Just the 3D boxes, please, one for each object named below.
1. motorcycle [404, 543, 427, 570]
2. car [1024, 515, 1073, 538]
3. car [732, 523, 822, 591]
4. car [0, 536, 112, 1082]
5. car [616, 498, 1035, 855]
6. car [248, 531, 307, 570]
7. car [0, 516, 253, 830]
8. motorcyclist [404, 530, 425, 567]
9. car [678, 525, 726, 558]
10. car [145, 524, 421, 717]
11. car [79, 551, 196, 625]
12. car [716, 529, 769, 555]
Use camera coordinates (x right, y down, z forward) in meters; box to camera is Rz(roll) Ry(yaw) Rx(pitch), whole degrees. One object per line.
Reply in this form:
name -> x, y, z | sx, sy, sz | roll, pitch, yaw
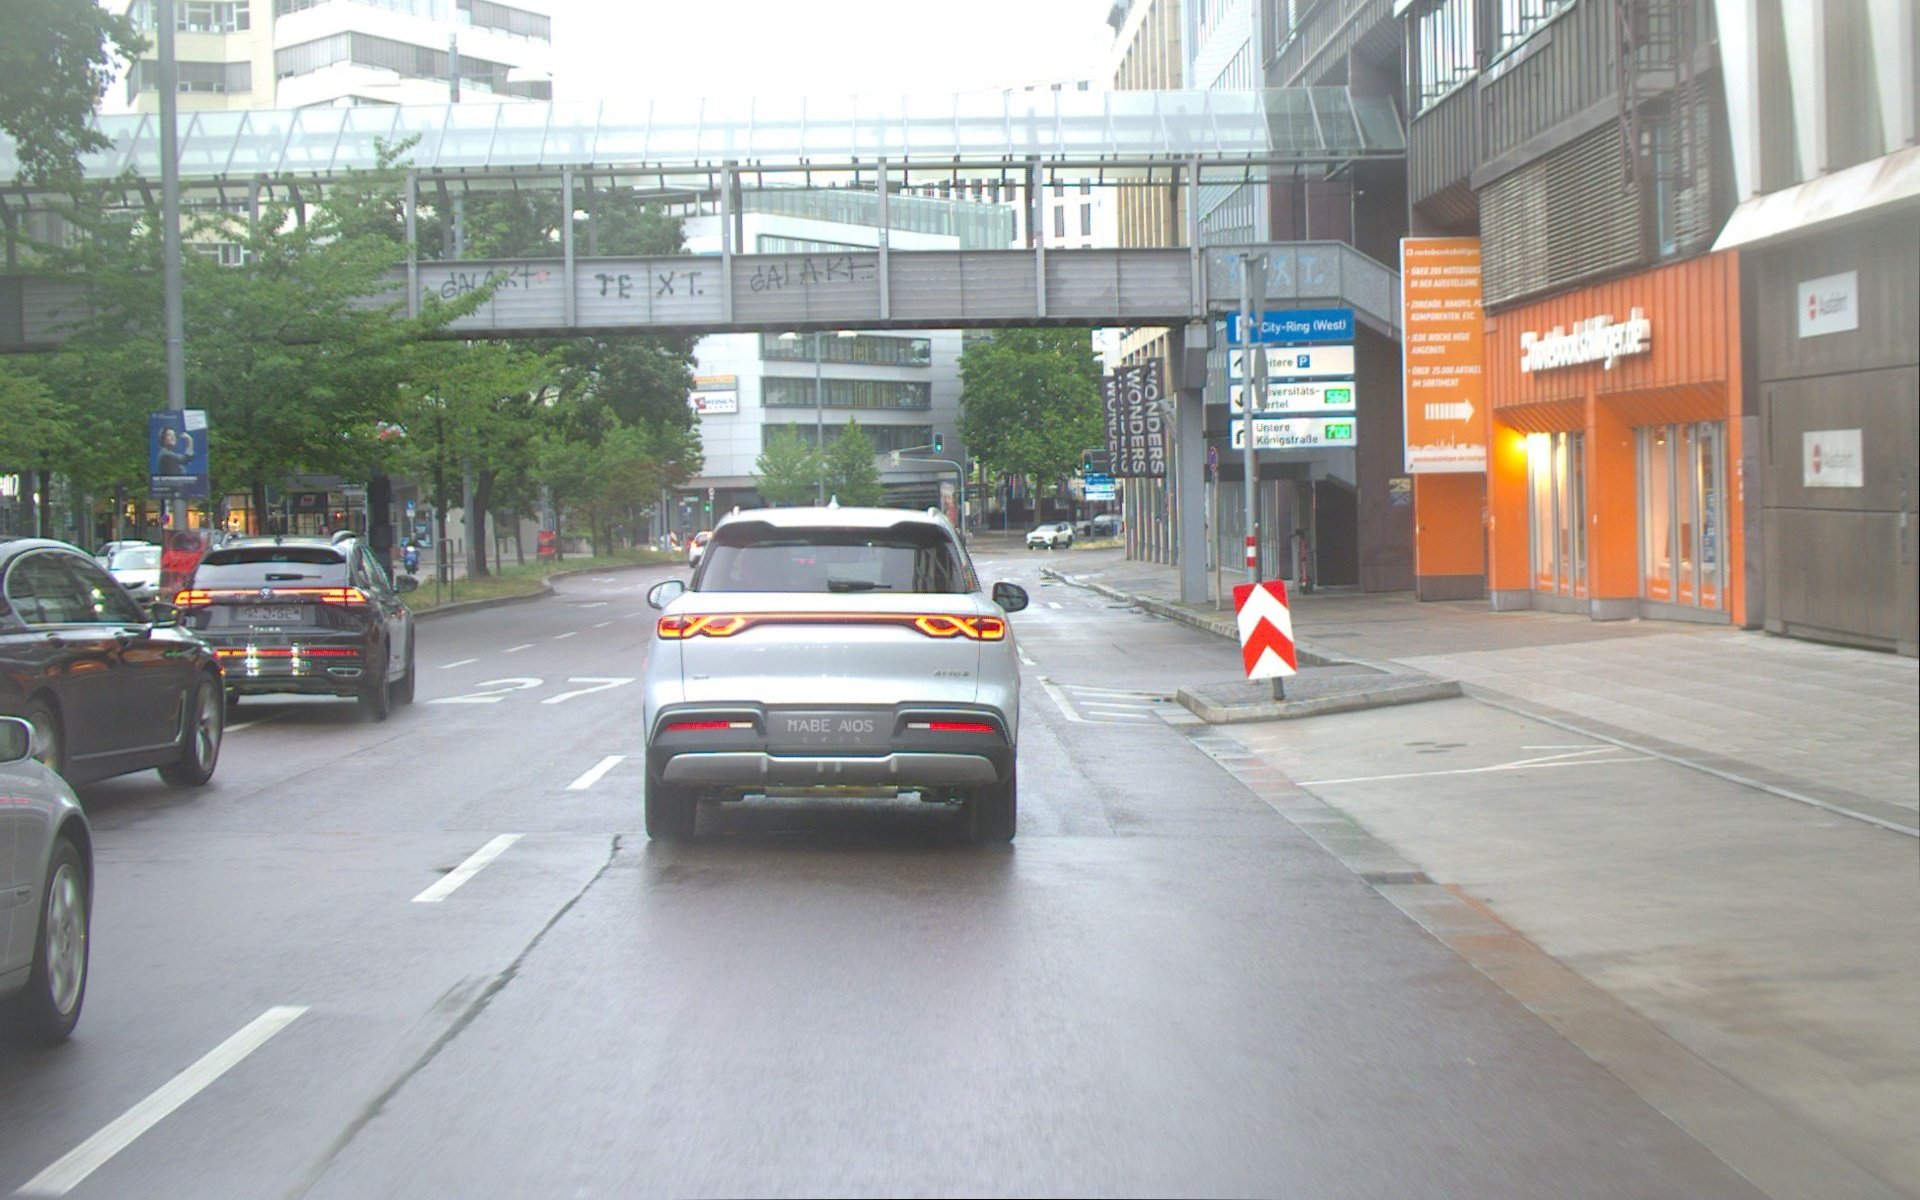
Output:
motorcycle -> -20.994, -1.667, 132.547 | 0.584, 1.018, 1.805 | -1, 1, 0
car -> 5.915, -4.923, 229.648 | 1.583, 1.533, 3.994 | 0, 1, 30
car -> -4.329, -1.041, 81.965 | 1.812, 1.573, 4.000 | 0, 1, 2
car -> -3.416, 0.569, 8.406 | 1.672, 1.474, 4.361 | 0, 0, -1
car -> -0.650, 0.327, 17.793 | 1.901, 1.616, 4.000 | 1, 1, -1
car -> -25.825, -1.895, 130.200 | 1.623, 1.455, 3.963 | 0, 1, -3
car -> -5.356, 0.328, 18.431 | 1.872, 1.474, 4.878 | -2, 1, 3
motorcyclist -> -21.008, -1.969, 132.448 | 0.638, 1.413, 0.970 | -1, 0, 0
car -> -10.730, -2.432, 143.150 | 1.653, 1.337, 4.000 | -1, 1, 1
car -> -5.550, 0.142, 28.599 | 1.774, 1.452, 4.001 | -1, 0, -4
car -> -17.701, -0.274, 74.128 | 1.661, 1.459, 4.082 | -3, 1, -3
car -> -12.854, -3.411, 203.121 | 1.625, 1.487, 4.303 | -1, 0, 18
